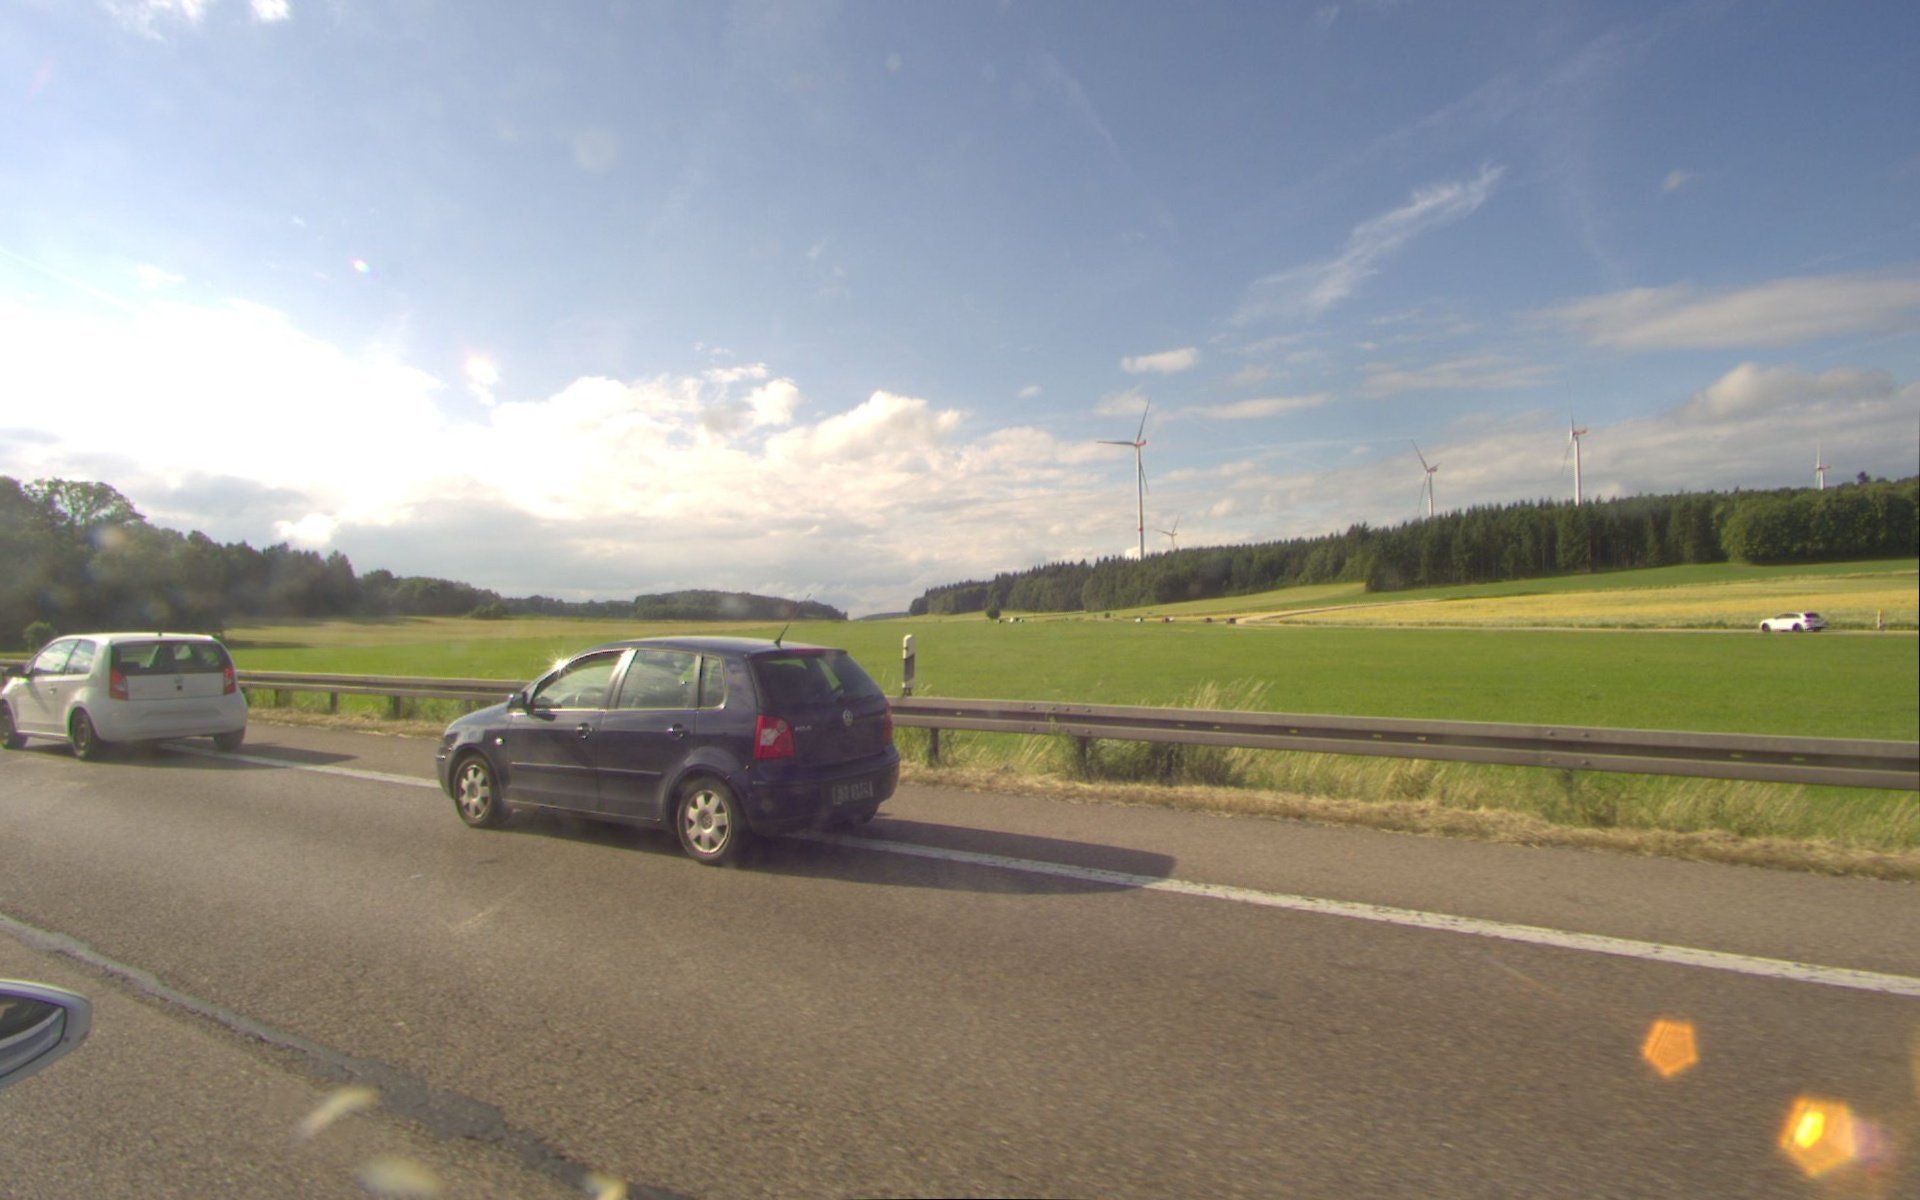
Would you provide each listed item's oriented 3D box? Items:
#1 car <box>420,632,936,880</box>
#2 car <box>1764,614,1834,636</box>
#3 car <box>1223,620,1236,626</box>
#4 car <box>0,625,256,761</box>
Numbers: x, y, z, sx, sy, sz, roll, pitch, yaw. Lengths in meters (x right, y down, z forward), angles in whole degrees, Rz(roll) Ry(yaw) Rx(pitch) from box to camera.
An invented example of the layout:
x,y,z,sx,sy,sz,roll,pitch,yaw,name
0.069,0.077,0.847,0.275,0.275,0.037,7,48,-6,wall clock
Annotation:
x,y,z,sx,sy,sz,roll,pitch,yaw,name
-2.203,0.992,7.612,3.719,1.464,1.708,-2,-2,31,car
67.222,2.030,80.327,1.962,1.638,4.000,0,-2,-9,car
64.681,5.530,240.241,1.803,1.505,4.222,0,-2,-5,car
-10.644,1.080,12.734,3.328,1.514,1.547,0,-1,31,car
